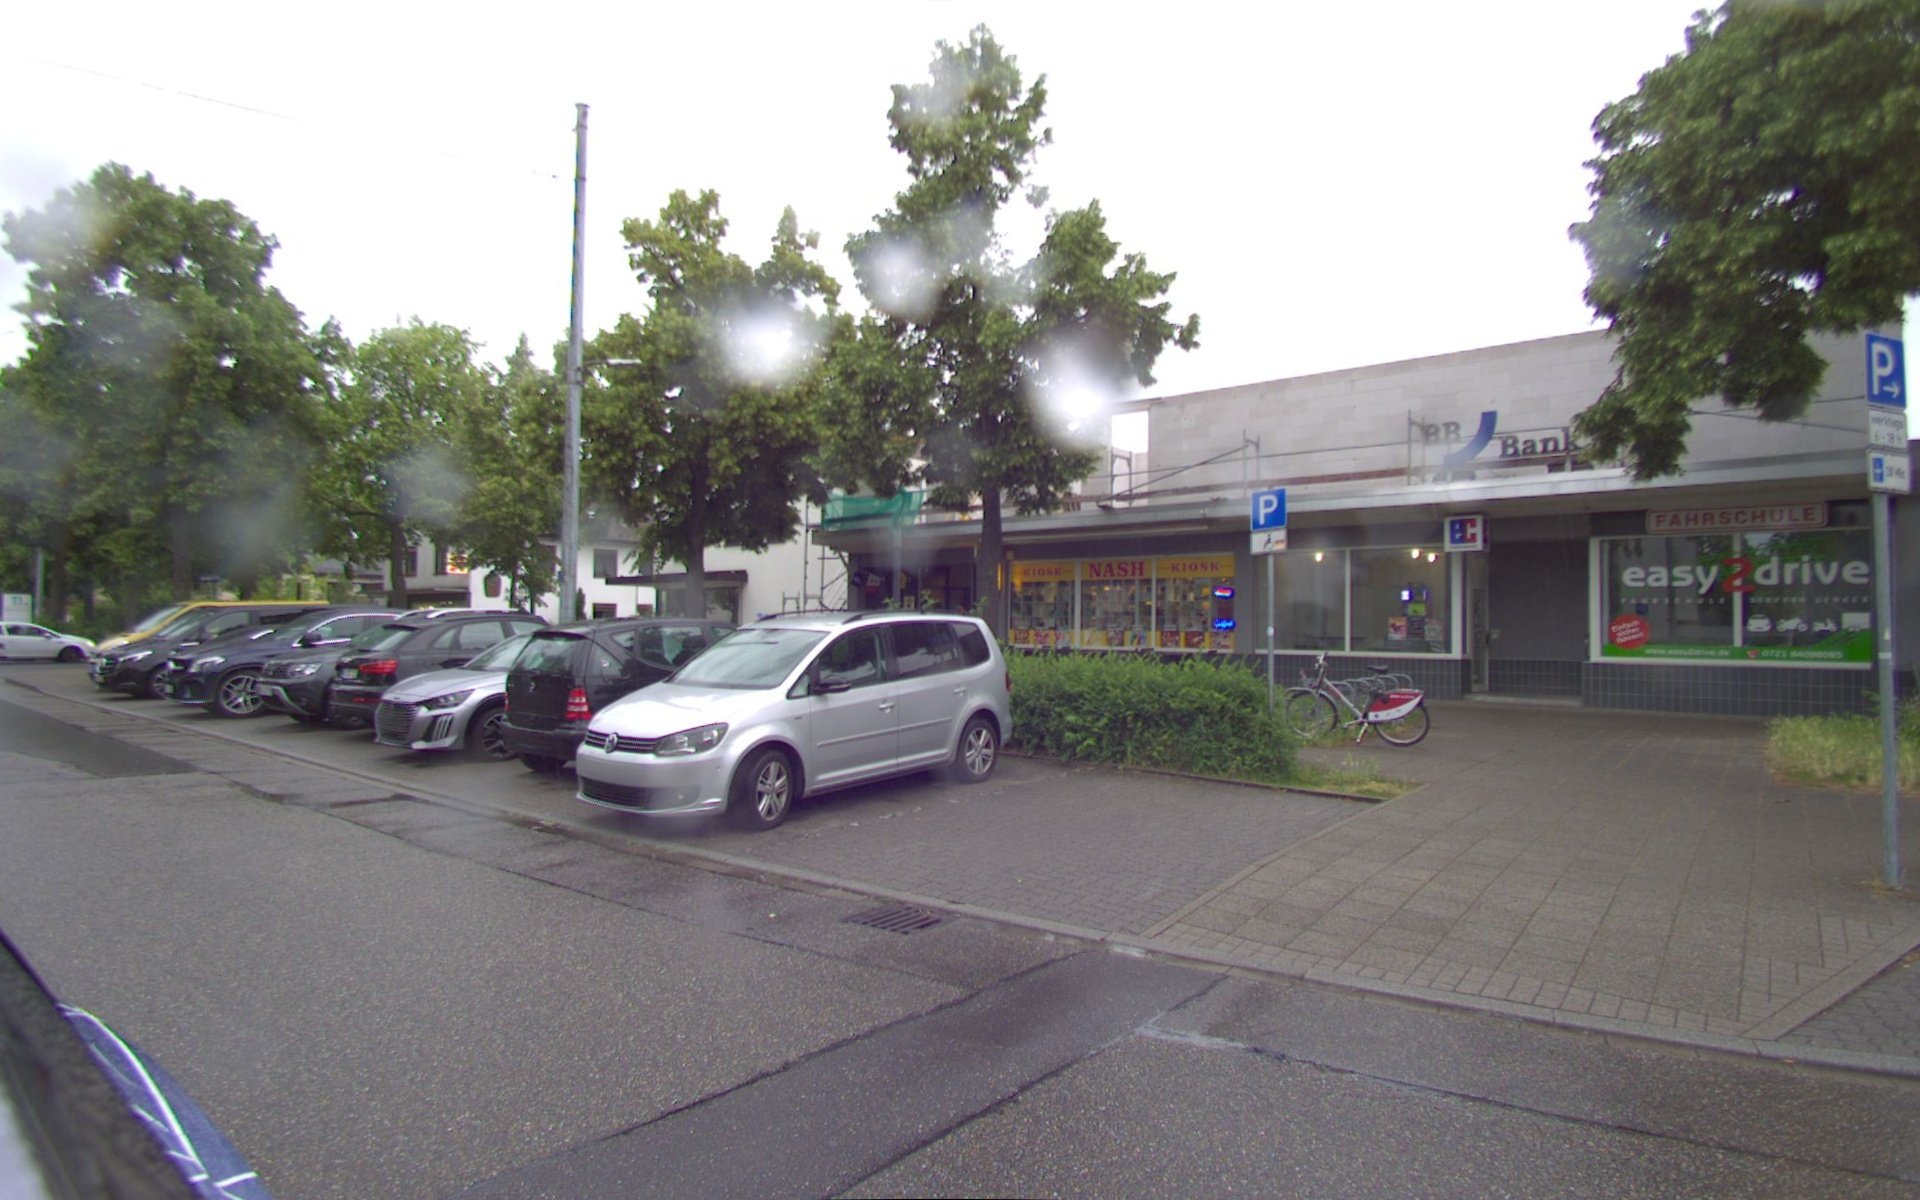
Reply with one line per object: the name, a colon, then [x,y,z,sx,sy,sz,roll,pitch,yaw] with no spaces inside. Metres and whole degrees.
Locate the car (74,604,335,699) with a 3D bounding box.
car: [-17.434,1.096,23.563,1.713,1.973,4.600,-1,-1,38]

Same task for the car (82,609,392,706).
car: [-15.126,1.102,21.499,1.713,1.813,5.114,-1,-1,38]

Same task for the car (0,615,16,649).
car: [-49.750,1.622,50.236,1.997,1.698,3.950,-1,0,37]

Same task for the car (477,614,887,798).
car: [-2.830,0.970,11.145,1.633,1.577,4.231,-1,0,38]

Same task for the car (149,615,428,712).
car: [-12.953,1.134,19.751,1.713,1.639,4.231,-1,-1,38]

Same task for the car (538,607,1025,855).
car: [-1.310,0.896,8.994,1.713,1.647,4.231,-1,-1,38]

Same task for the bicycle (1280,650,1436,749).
bicycle: [4.834,1.191,12.350,1.739,1.115,0.316,-1,0,25]

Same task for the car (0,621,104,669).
car: [-31.681,1.511,33.979,1.998,1.465,4.201,-1,0,39]

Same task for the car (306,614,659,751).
car: [-6.566,1.020,14.347,1.713,1.607,4.231,-1,-1,38]

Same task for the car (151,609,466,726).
car: [-10.953,1.028,17.297,1.713,1.740,4.231,-1,-1,38]

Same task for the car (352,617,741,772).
car: [-4.931,1.011,12.611,1.713,1.544,4.231,-1,-1,38]

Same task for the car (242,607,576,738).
car: [-8.326,0.978,15.640,1.713,1.740,4.231,-1,-1,38]
